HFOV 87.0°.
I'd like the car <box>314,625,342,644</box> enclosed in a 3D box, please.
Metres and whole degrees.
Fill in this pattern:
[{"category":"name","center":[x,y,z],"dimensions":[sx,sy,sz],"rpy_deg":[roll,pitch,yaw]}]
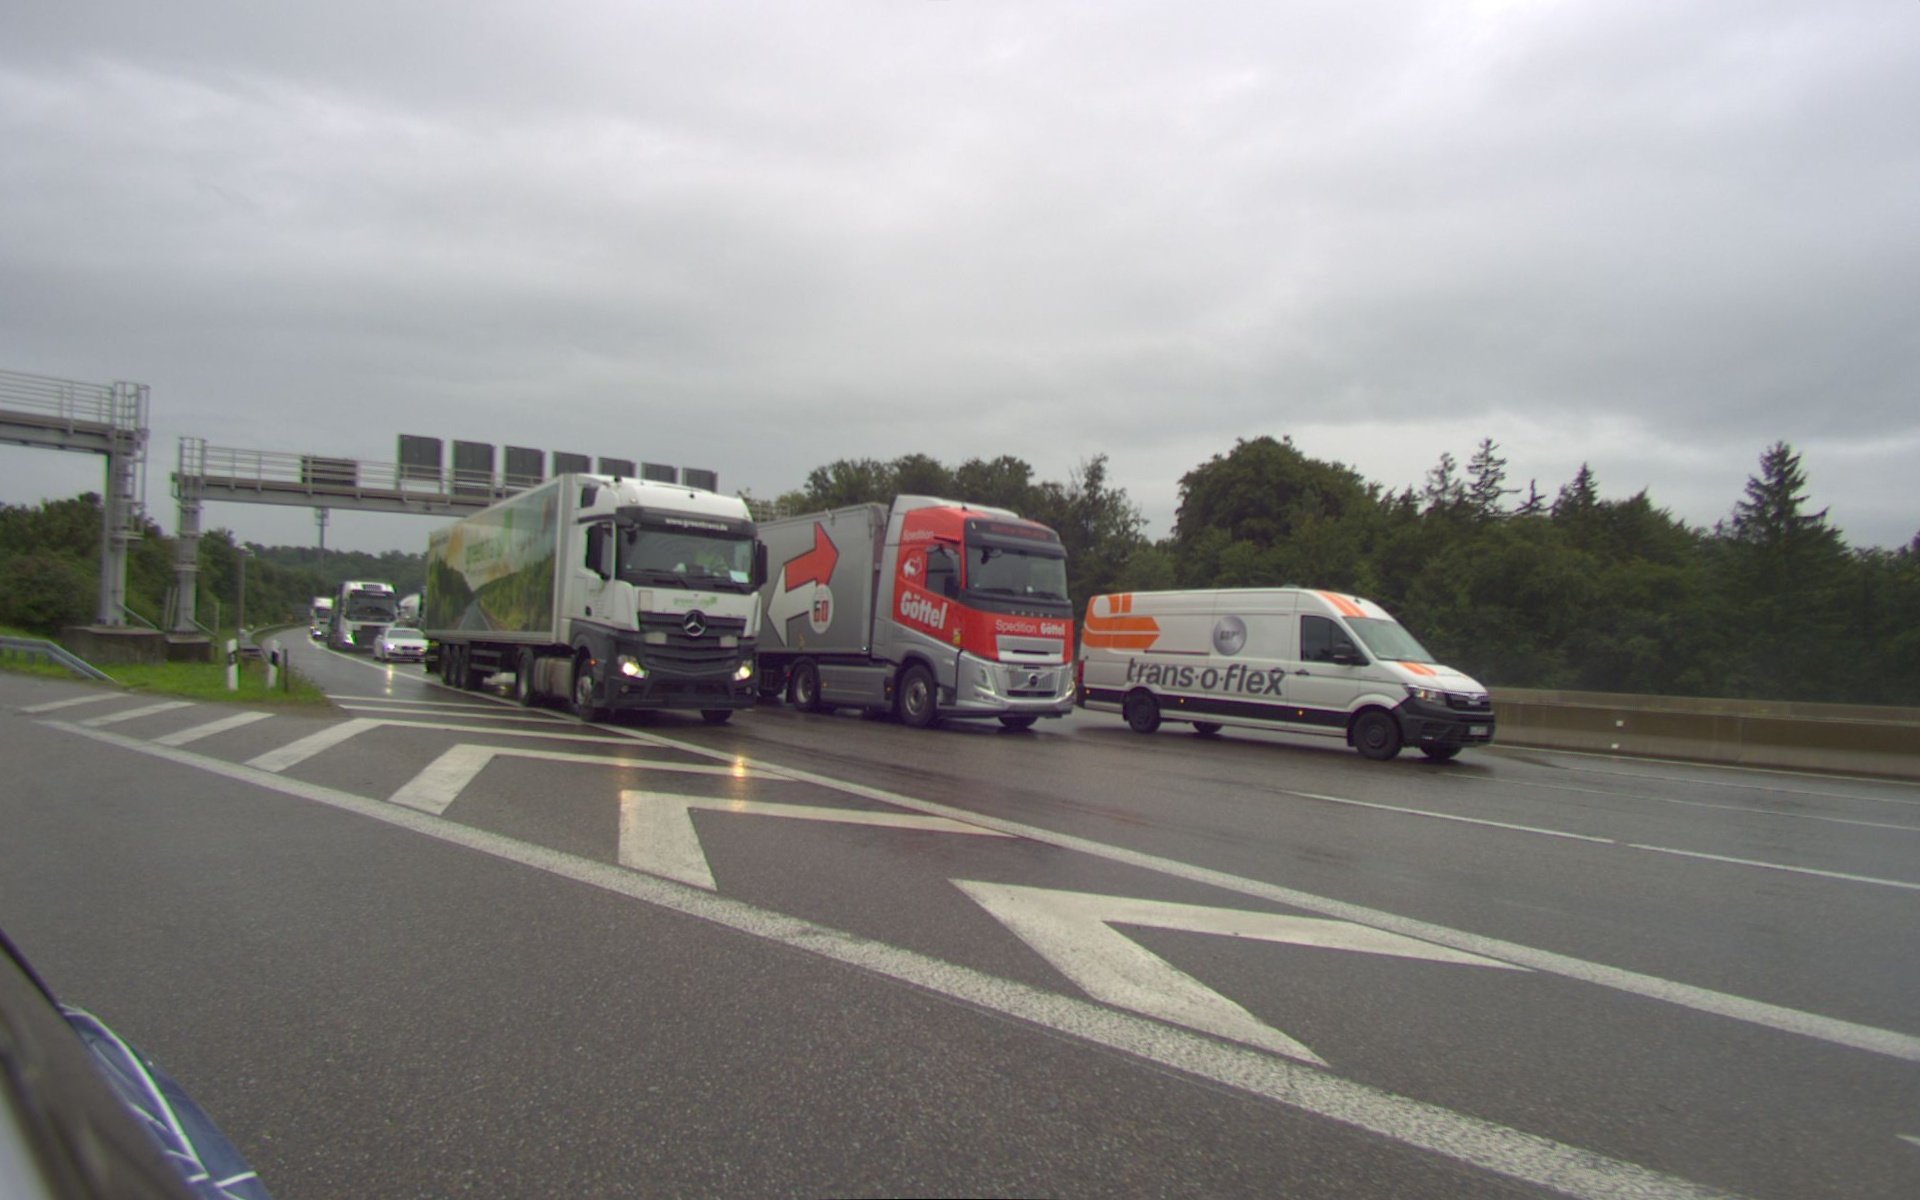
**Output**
[{"category":"car","center":[-55.823,3.035,89.398],"dimensions":[1.790,1.697,4.009],"rpy_deg":[2,-2,-36]}]

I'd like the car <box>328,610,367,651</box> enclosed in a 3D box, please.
[{"category":"car","center":[-44.231,2.121,73.045],"dimensions":[2.330,2.663,6.917],"rpy_deg":[-1,0,-32]}]

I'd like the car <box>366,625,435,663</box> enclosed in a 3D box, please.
[{"category":"car","center":[-24.052,1.853,43.431],"dimensions":[1.902,1.534,4.773],"rpy_deg":[3,-3,-37]}]

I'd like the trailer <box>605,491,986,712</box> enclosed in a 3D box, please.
[{"category":"trailer","center":[-4.754,0.236,24.030],"dimensions":[2.593,3.893,13.704],"rpy_deg":[4,-4,-37]}]

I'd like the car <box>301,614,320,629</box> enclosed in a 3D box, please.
[{"category":"car","center":[-77.262,2.528,120.312],"dimensions":[1.789,1.770,4.698],"rpy_deg":[1,-2,-34]}]

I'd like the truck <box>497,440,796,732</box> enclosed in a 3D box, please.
[{"category":"truck","center":[-5.801,-0.094,17.885],"dimensions":[2.880,4.130,6.734],"rpy_deg":[3,-3,-36]}]

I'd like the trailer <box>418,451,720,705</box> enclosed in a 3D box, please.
[{"category":"trailer","center":[-9.654,-0.215,23.207],"dimensions":[2.880,4.237,13.667],"rpy_deg":[3,-3,-36]}]

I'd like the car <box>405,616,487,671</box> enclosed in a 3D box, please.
[{"category":"car","center":[-17.963,1.484,35.281],"dimensions":[1.770,1.807,4.248],"rpy_deg":[3,-3,-37]}]

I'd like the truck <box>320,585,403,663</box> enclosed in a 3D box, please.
[{"category":"truck","center":[-35.591,1.249,59.843],"dimensions":[3.302,4.101,12.605],"rpy_deg":[-1,0,-35]}]

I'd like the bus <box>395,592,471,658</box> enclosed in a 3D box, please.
[{"category":"bus","center":[-33.302,1.402,63.668],"dimensions":[2.856,3.796,10.456],"rpy_deg":[-1,0,-35]}]

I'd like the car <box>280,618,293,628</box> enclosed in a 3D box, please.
[{"category":"car","center":[-116.808,3.976,175.450],"dimensions":[1.789,1.770,4.697],"rpy_deg":[3,-3,-35]}]

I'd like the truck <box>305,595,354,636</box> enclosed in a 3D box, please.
[{"category":"truck","center":[-62.501,1.457,100.231],"dimensions":[3.481,3.876,9.458],"rpy_deg":[-1,0,-36]}]

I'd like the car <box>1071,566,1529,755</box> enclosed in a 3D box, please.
[{"category":"car","center":[5.202,0.914,16.987],"dimensions":[2.120,2.507,7.381],"rpy_deg":[3,-3,-37]}]

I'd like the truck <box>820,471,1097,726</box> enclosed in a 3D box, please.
[{"category":"truck","center":[-0.158,0.077,18.038],"dimensions":[2.593,3.893,4.598],"rpy_deg":[4,-4,-38]}]
